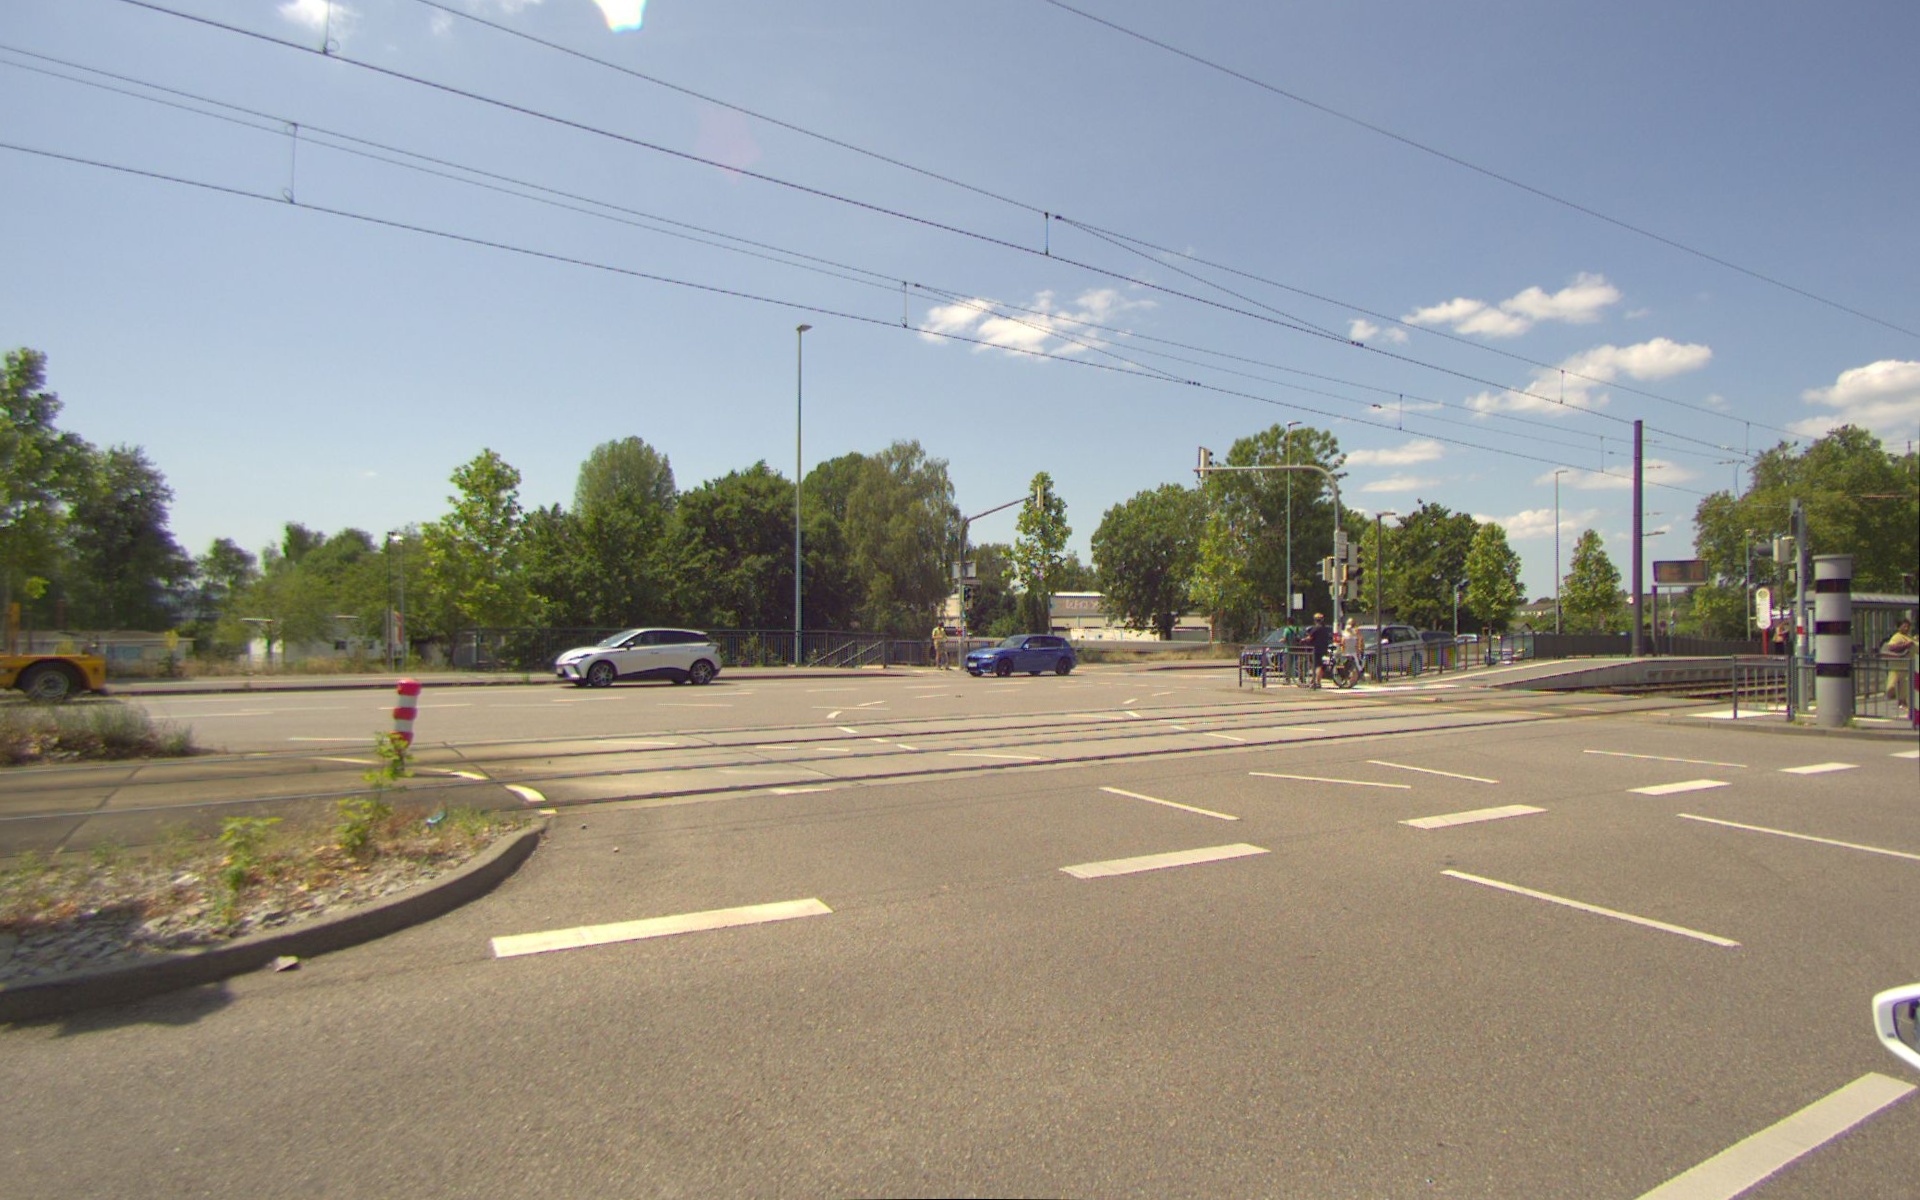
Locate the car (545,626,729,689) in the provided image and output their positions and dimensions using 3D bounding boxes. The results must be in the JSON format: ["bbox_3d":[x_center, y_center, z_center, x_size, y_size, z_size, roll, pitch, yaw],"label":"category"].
[{"bbox_3d":[-8.510,1.475,26.620,4.239,1.483,1.979,2,-1,-37],"label":"car"}]

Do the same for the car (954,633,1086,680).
[{"bbox_3d":[2.121,1.910,34.828,4.307,1.464,1.980,1,0,-35],"label":"car"}]

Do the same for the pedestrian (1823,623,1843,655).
[{"bbox_3d":[42.065,1.868,48.415,0.632,1.553,0.573,1,-1,-34],"label":"pedestrian"}]

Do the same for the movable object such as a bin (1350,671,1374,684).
[{"bbox_3d":[10.663,2.048,26.626,0.227,0.325,0.566,1,-1,-37],"label":"movable object such as a bin"}]

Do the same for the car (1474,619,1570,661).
[{"bbox_3d":[23.876,1.680,42.640,3.958,1.650,1.982,2,0,-33],"label":"car"}]

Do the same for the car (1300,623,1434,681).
[{"bbox_3d":[12.710,1.586,31.309,3.958,1.650,1.982,1,-1,-33],"label":"car"}]

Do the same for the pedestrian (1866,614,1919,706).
[{"bbox_3d":[17.827,1.125,19.137,0.672,1.695,0.726,1,0,-37],"label":"pedestrian"}]

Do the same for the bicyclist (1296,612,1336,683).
[{"bbox_3d":[8.526,1.123,24.034,0.656,1.636,0.730,1,0,40],"label":"bicyclist"}]

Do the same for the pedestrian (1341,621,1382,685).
[{"bbox_3d":[10.842,1.408,27.138,0.757,1.694,0.756,1,-1,-36],"label":"pedestrian"}]

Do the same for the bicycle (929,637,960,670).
[{"bbox_3d":[-0.594,2.028,38.330,0.582,1.209,1.524,2,0,-26],"label":"bicycle"}]

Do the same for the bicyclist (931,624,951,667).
[{"bbox_3d":[-0.725,1.756,38.598,0.537,1.631,0.583,1,0,-28],"label":"bicyclist"}]

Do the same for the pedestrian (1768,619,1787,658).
[{"bbox_3d":[35.948,1.686,44.161,0.800,1.660,0.552,1,-1,-42],"label":"pedestrian"}]

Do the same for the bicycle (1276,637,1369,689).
[{"bbox_3d":[8.661,1.479,24.066,1.949,1.115,0.761,1,0,41],"label":"bicycle"}]

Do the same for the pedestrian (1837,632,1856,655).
[{"bbox_3d":[43.630,2.146,49.417,0.632,1.109,0.573,1,-1,-34],"label":"pedestrian"}]

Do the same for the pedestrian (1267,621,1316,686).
[{"bbox_3d":[8.588,1.368,26.053,0.757,1.631,0.950,1,-1,-36],"label":"pedestrian"}]

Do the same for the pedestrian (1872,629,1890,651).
[{"bbox_3d":[49.559,2.150,54.070,0.632,1.206,0.573,1,-1,-34],"label":"pedestrian"}]

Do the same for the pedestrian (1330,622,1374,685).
[{"bbox_3d":[10.101,1.359,25.877,0.757,1.569,0.756,1,-1,-36],"label":"pedestrian"}]

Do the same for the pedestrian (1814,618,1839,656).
[{"bbox_3d":[40.443,1.706,46.898,0.567,1.752,0.739,0,-1,3],"label":"pedestrian"}]

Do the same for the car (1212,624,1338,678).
[{"bbox_3d":[10.526,1.649,33.471,3.958,1.650,1.982,1,-1,-34],"label":"car"}]

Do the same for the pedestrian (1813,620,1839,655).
[{"bbox_3d":[41.401,1.791,48.039,0.567,1.660,0.828,0,-1,3],"label":"pedestrian"}]

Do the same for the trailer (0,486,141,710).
[{"bbox_3d":[-22.063,-0.172,14.755,15.373,3.922,3.085,2,-1,-43],"label":"trailer"}]
